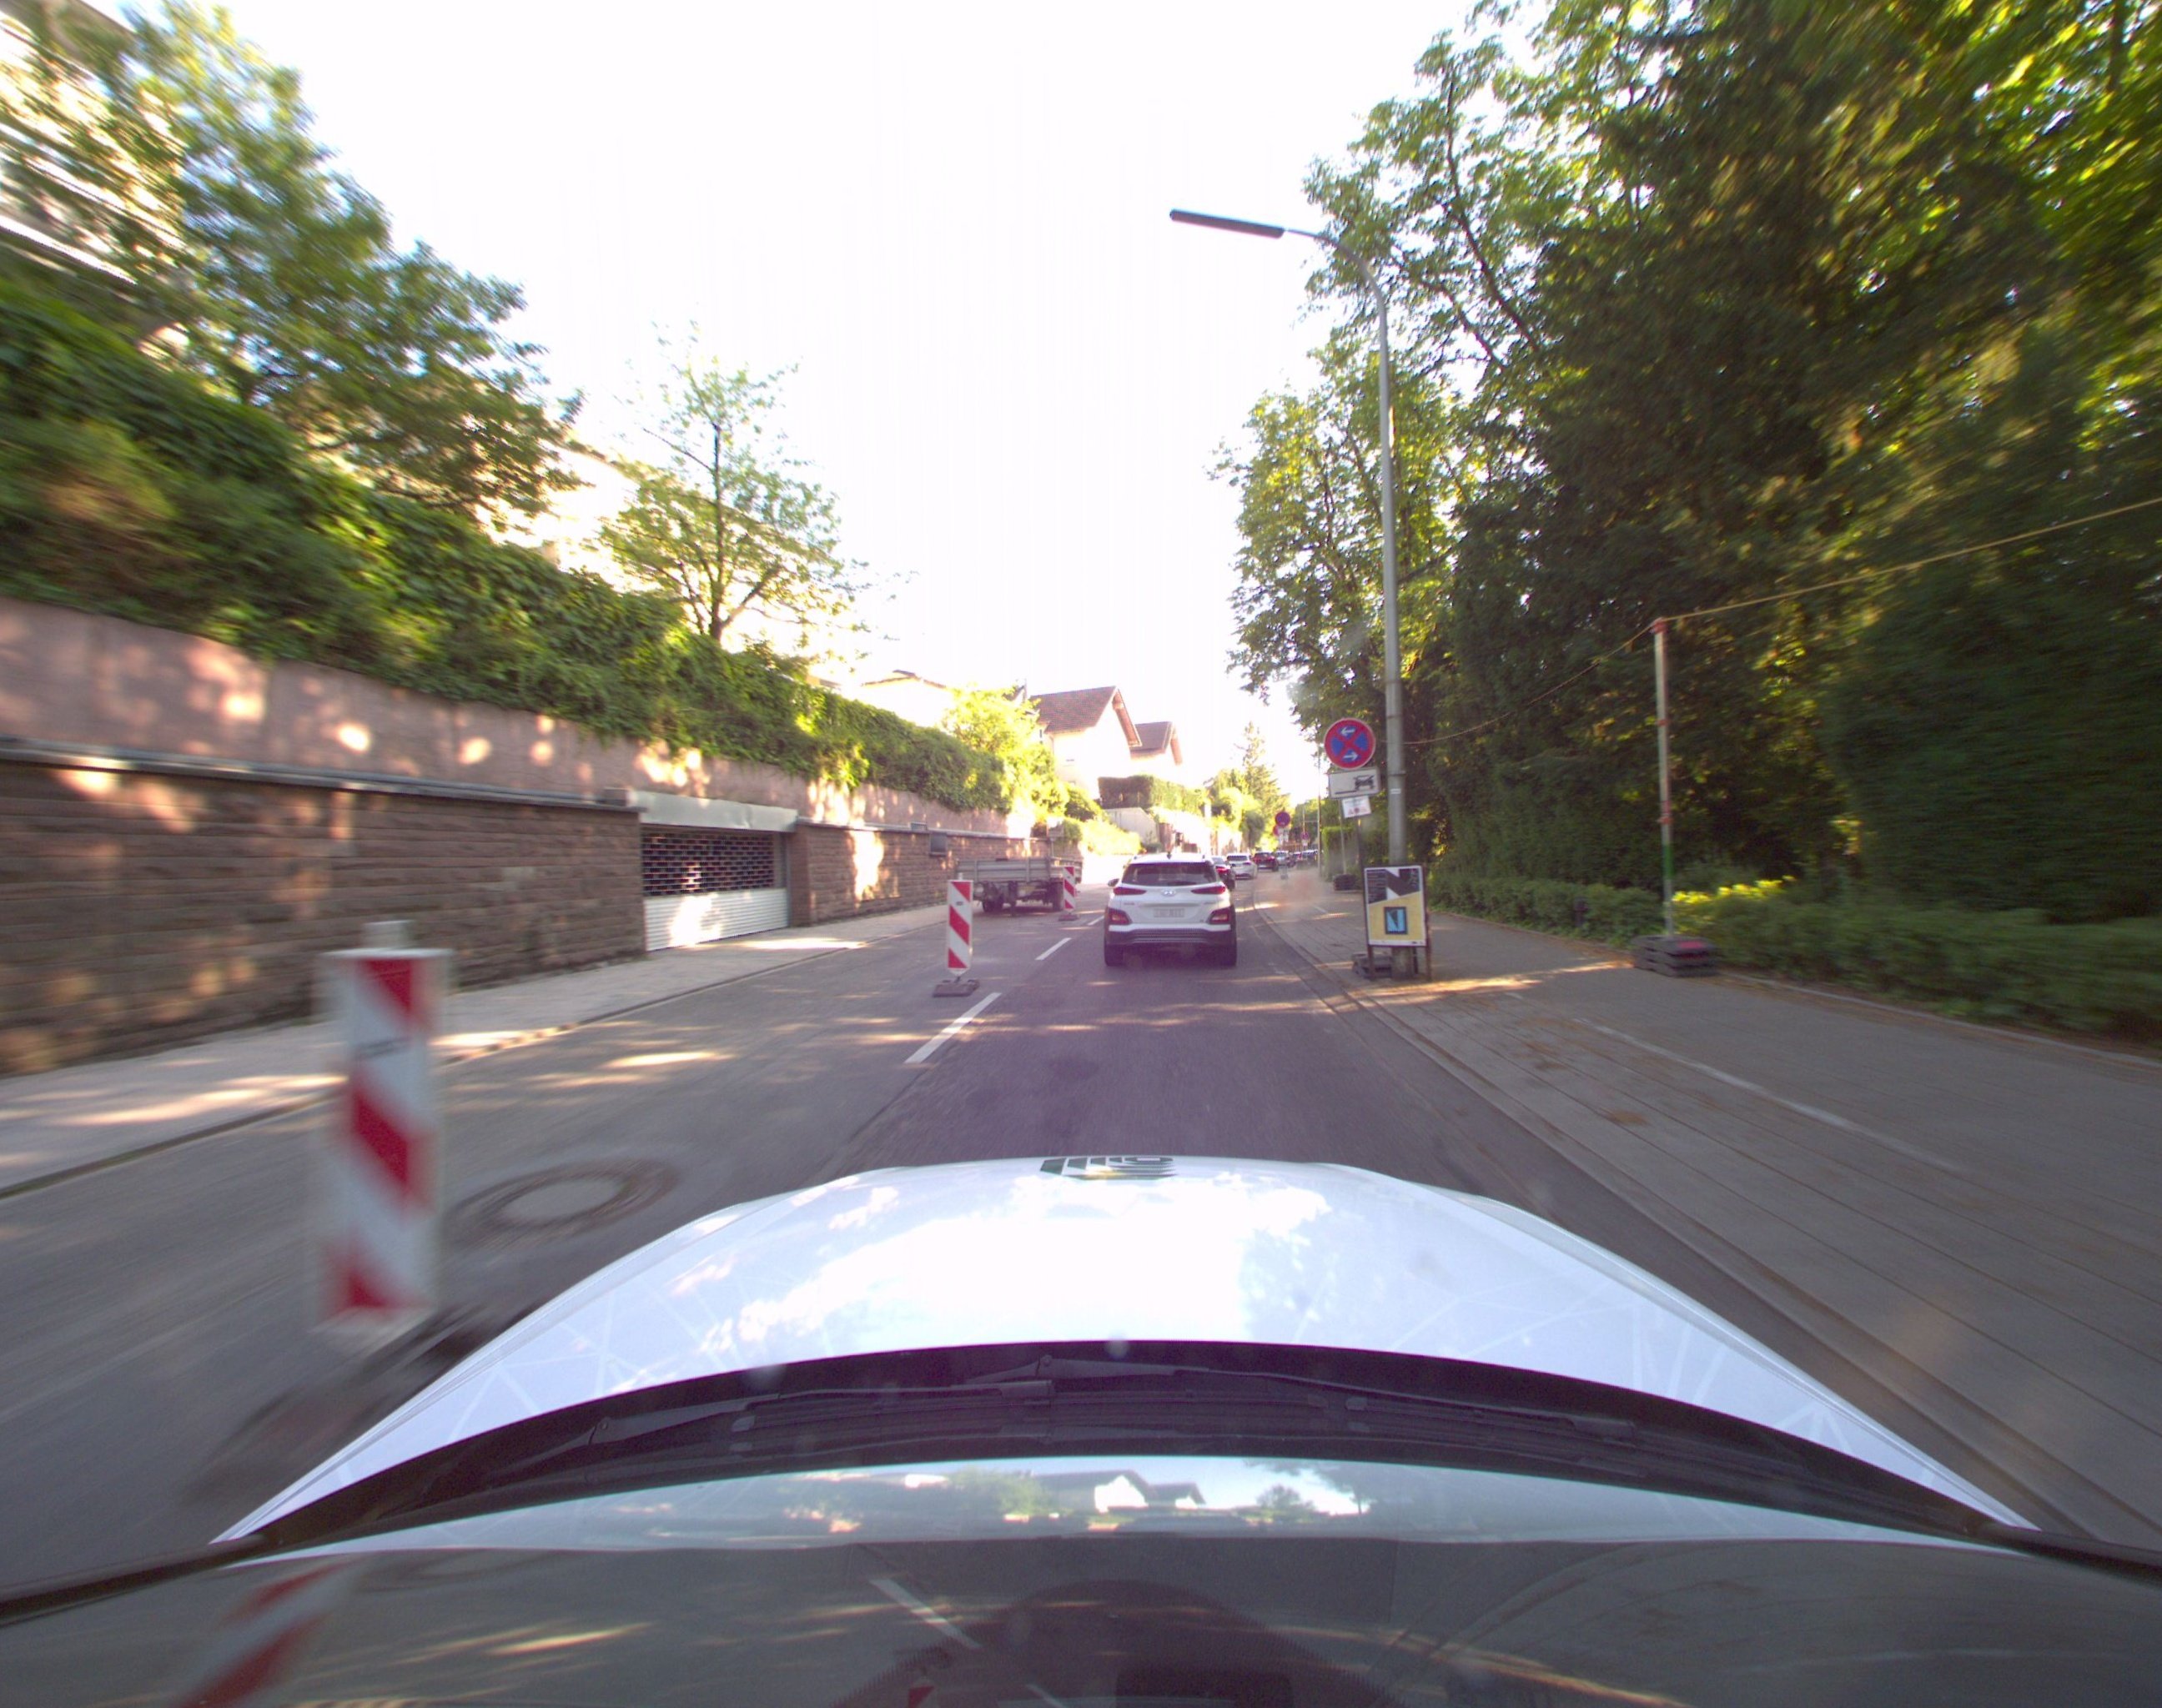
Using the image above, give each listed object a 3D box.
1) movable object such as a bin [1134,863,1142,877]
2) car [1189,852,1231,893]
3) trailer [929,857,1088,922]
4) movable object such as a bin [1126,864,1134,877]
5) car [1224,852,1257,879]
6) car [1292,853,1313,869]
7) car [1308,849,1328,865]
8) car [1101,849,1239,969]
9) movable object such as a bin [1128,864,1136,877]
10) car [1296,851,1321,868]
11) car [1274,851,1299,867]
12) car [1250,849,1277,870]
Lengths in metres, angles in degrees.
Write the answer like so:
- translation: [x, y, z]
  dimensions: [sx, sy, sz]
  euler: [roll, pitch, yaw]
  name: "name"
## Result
- translation: [3.905, 1.101, 55.981]
  dimensions: [0.452, 0.884, 0.503]
  euler: [-1, 0, 19]
  name: "movable object such as a bin"
- translation: [5.365, 0.717, 33.601]
  dimensions: [1.502, 1.533, 3.558]
  euler: [-2, 0, 11]
  name: "car"
- translation: [-1.667, 0.835, 22.375]
  dimensions: [2.624, 1.489, 7.137]
  euler: [-1, 0, 9]
  name: "trailer"
- translation: [3.259, 1.082, 54.049]
  dimensions: [0.450, 0.834, 0.394]
  euler: [-2, 0, 19]
  name: "movable object such as a bin"
- translation: [9.282, 0.659, 47.305]
  dimensions: [1.558, 1.477, 3.563]
  euler: [-1, 0, 16]
  name: "car"
- translation: [24.398, 0.748, 89.698]
  dimensions: [1.679, 1.504, 3.651]
  euler: [-5, 0, 23]
  name: "car"
- translation: [23.762, 0.279, 81.609]
  dimensions: [1.638, 1.564, 2.888]
  euler: [-2, 0, 23]
  name: "car"
- translation: [1.418, 0.713, 12.563]
  dimensions: [1.762, 1.542, 4.009]
  euler: [0, 0, 8]
  name: "car"
- translation: [3.420, 1.108, 54.494]
  dimensions: [0.452, 0.884, 0.503]
  euler: [-1, 0, 19]
  name: "movable object such as a bin"
- translation: [20.118, 0.475, 71.936]
  dimensions: [1.779, 1.441, 4.020]
  euler: [-3, -1, 20]
  name: "car"
- translation: [19.385, 0.447, 76.723]
  dimensions: [1.679, 1.447, 3.903]
  euler: [-2, 0, 23]
  name: "car"
- translation: [13.955, 0.426, 62.136]
  dimensions: [1.680, 1.533, 3.899]
  euler: [-2, 0, 17]
  name: "car"
